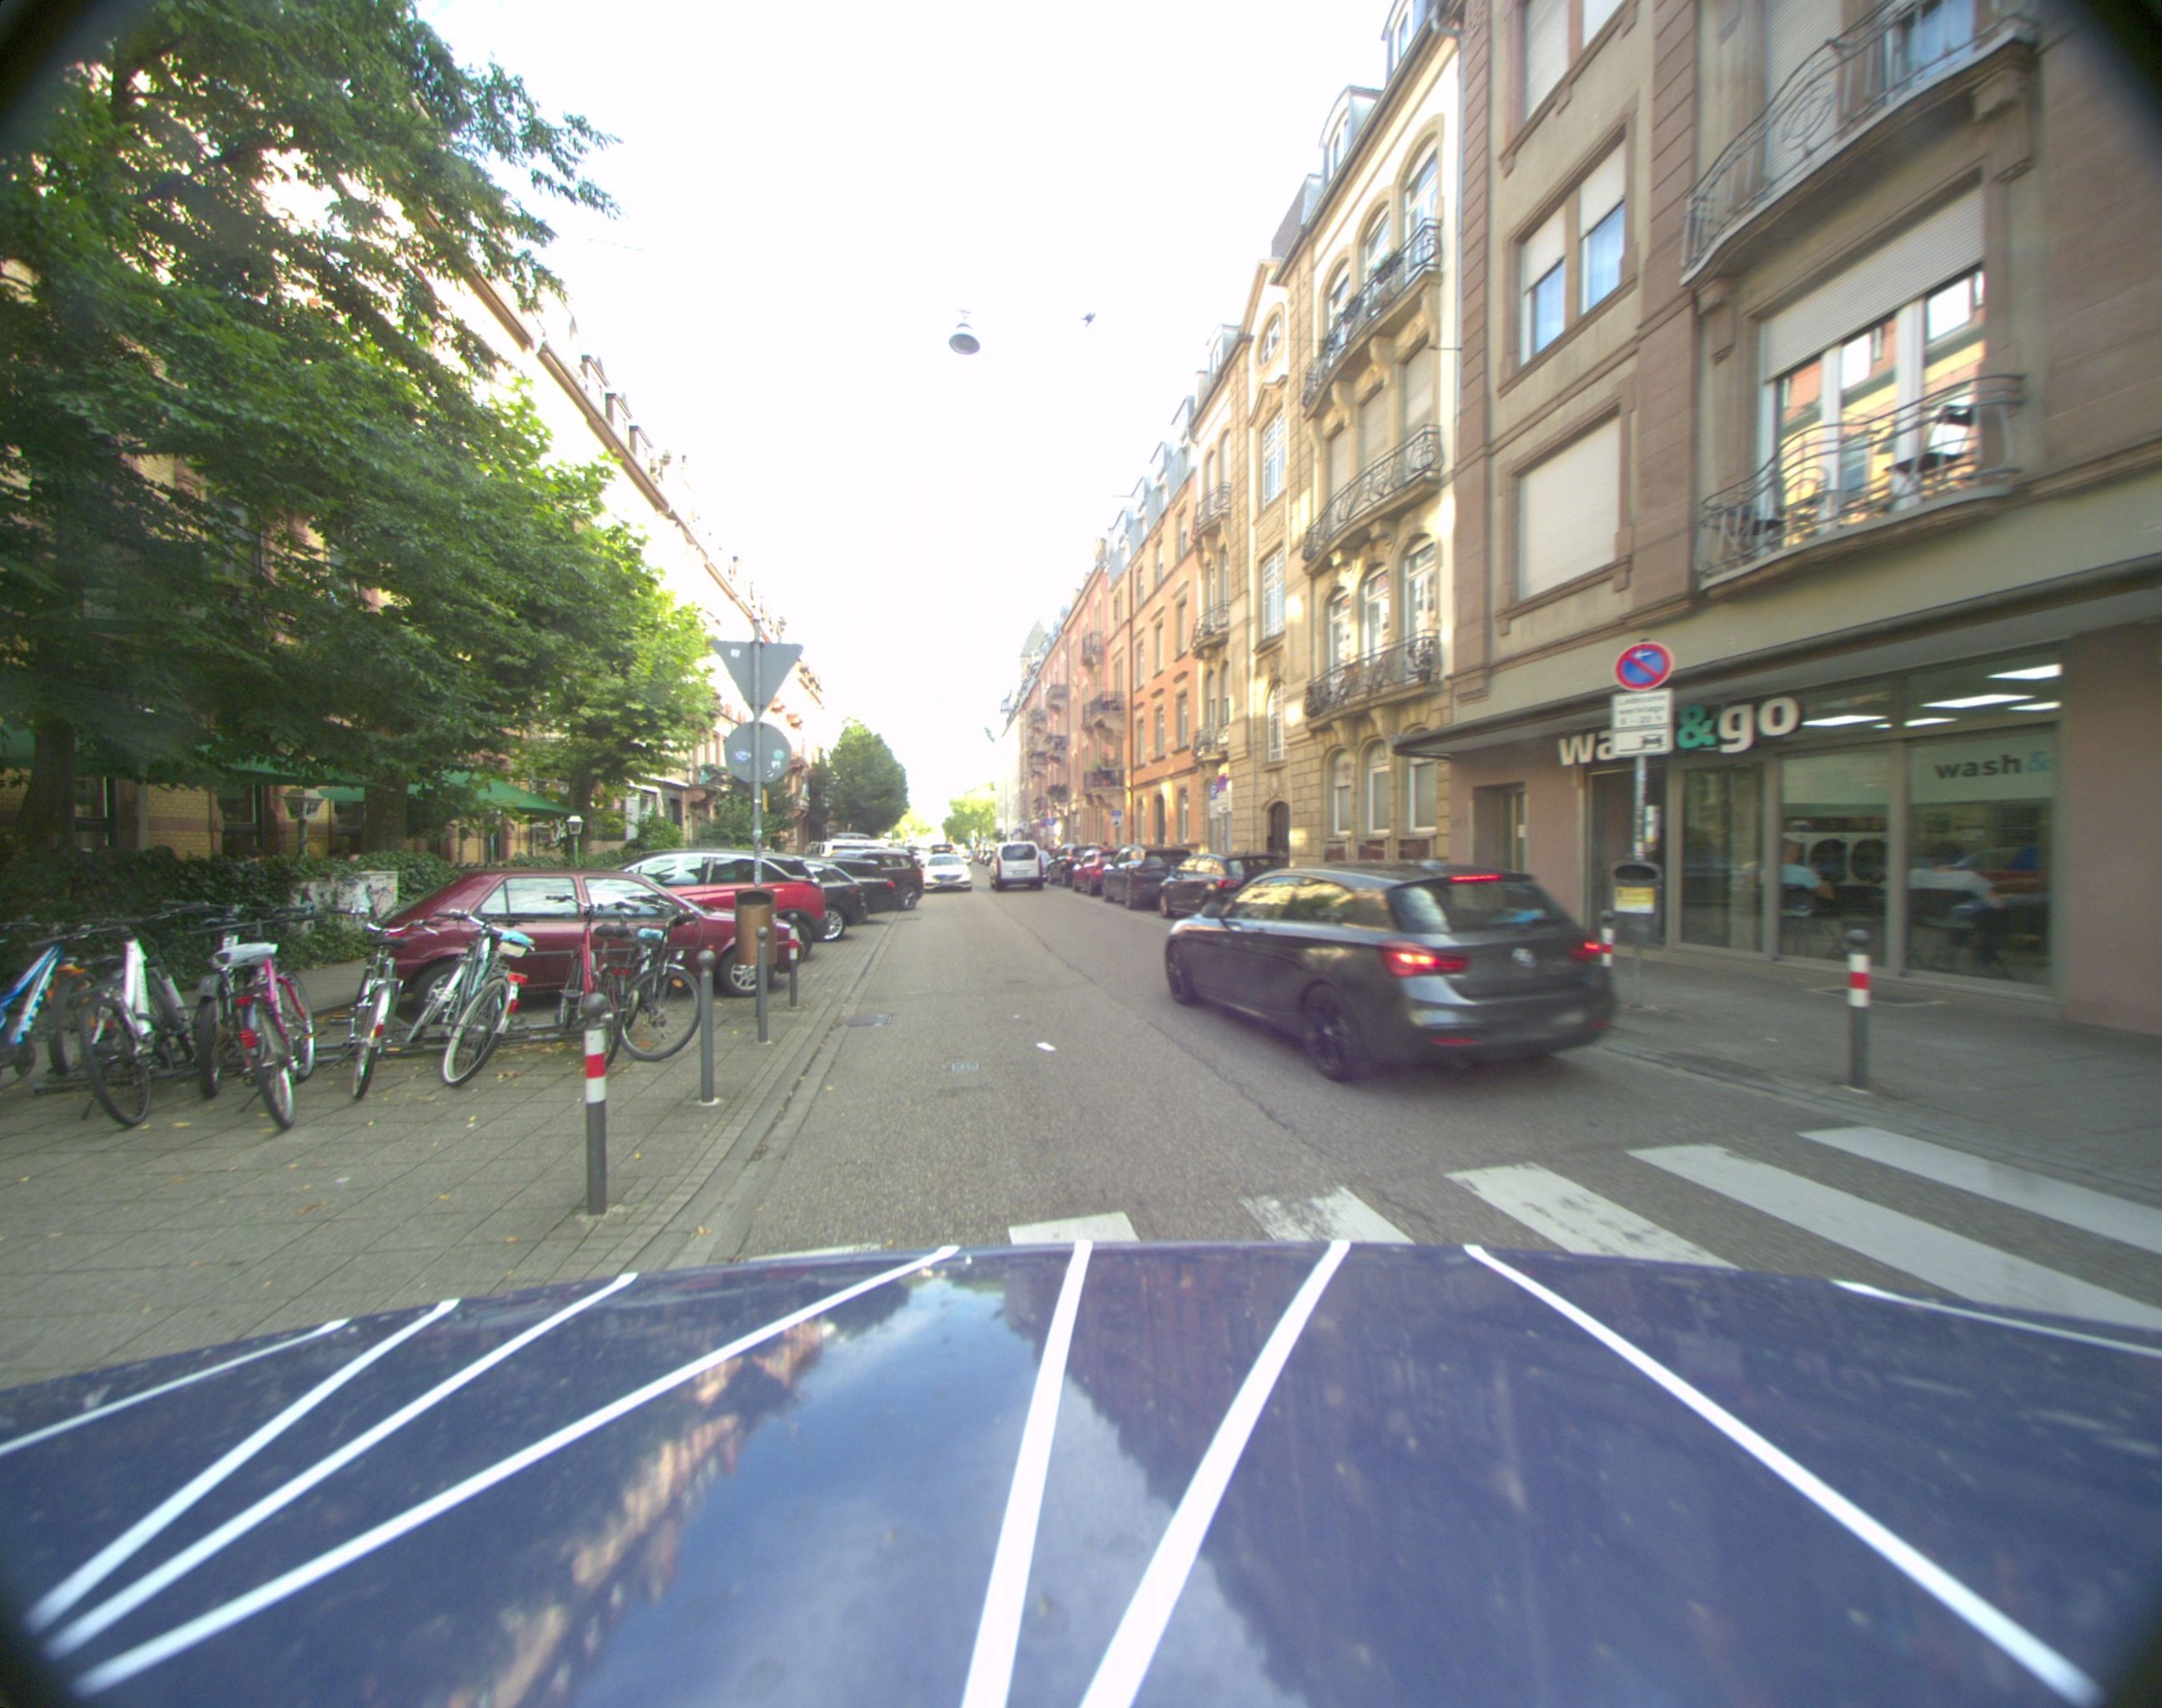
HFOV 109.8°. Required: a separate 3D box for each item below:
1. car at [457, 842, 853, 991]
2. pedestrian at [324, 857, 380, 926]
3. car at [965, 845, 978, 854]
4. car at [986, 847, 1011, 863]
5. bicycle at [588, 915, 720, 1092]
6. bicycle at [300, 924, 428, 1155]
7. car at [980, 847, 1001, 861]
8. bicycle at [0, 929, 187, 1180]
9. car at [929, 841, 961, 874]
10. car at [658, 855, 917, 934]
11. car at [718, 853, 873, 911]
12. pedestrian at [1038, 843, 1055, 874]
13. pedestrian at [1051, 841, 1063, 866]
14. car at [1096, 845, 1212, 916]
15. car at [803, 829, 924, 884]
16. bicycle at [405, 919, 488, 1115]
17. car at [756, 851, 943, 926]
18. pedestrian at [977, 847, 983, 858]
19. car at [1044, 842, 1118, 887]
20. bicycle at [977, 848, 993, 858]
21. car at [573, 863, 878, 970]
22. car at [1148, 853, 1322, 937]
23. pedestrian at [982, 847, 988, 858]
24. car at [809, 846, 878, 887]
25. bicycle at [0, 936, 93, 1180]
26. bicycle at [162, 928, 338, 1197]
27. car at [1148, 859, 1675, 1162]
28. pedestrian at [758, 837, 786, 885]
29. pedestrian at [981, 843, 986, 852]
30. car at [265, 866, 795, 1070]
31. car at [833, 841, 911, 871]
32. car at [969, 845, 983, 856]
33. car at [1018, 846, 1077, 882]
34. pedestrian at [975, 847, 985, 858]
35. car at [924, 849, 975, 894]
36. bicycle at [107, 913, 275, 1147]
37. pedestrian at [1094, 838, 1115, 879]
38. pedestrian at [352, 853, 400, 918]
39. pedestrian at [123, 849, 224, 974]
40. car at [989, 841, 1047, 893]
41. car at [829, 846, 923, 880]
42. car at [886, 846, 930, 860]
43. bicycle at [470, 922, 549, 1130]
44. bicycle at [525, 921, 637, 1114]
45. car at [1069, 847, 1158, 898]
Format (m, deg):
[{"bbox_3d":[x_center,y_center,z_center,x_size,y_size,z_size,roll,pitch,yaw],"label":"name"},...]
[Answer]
[{"bbox_3d":[-5.589,0.732,10.333,4.364,1.635,1.816,2,0,-36],"label":"car"},{"bbox_3d":[-13.331,0.678,13.902,0.489,1.212,0.648,2,1,-19],"label":"pedestrian"},{"bbox_3d":[-18.499,-0.702,128.360,1.913,1.412,3.995,-2,1,-11],"label":"car"},{"bbox_3d":[-7.688,0.092,70.538,1.818,1.343,5.109,-2,1,-12],"label":"car"},{"bbox_3d":[-3.435,1.083,6.030,0.551,1.034,1.851,3,0,-40],"label":"bicycle"},{"bbox_3d":[-4.552,1.064,4.903,0.446,1.034,1.900,3,0,-40],"label":"bicycle"},{"bbox_3d":[-9.538,-0.054,80.215,1.676,1.407,4.006,-2,1,-14],"label":"car"},{"bbox_3d":[-5.448,1.011,4.231,0.337,1.034,1.452,3,0,-40],"label":"bicycle"},{"bbox_3d":[-8.543,0.213,47.845,1.812,1.915,3.996,-3,1,-9],"label":"car"},{"bbox_3d":[-6.184,0.807,16.299,4.778,1.448,2.051,2,-1,-38],"label":"car"},{"bbox_3d":[-8.033,0.741,21.586,1.736,1.476,3.728,0,0,42],"label":"car"},{"bbox_3d":[-1.890,0.246,41.744,0.666,1.699,0.566,0,2,44],"label":"pedestrian"},{"bbox_3d":[-1.646,-0.017,52.527,0.666,1.686,0.762,-2,2,-11],"label":"pedestrian"},{"bbox_3d":[1.781,0.582,20.232,1.797,1.619,4.841,-1,1,-11],"label":"car"},{"bbox_3d":[-10.155,0.087,35.721,5.171,2.391,1.912,0,1,-44],"label":"car"},{"bbox_3d":[-4.554,1.071,5.507,0.348,1.034,1.851,3,0,-38],"label":"bicycle"},{"bbox_3d":[-6.069,0.823,20.338,1.870,1.644,4.395,-1,2,41],"label":"car"},{"bbox_3d":[-12.527,-0.164,94.402,0.739,1.341,0.643,-2,2,-8],"label":"pedestrian"},{"bbox_3d":[-0.108,0.396,31.268,1.880,1.671,4.888,-2,1,-14],"label":"car"},{"bbox_3d":[-11.706,-0.095,92.824,1.874,1.168,0.687,-2,2,-9],"label":"bicycle"},{"bbox_3d":[-5.971,0.923,12.976,4.423,1.448,1.937,-1,1,-35],"label":"car"},{"bbox_3d":[2.932,0.707,15.495,2.000,1.412,4.239,0,1,-11],"label":"car"},{"bbox_3d":[-11.880,-0.215,93.935,0.690,1.365,0.739,-2,2,-7],"label":"pedestrian"},{"bbox_3d":[-10.171,0.556,32.583,2.474,1.656,1.343,3,-2,-37],"label":"car"},{"bbox_3d":[-5.636,1.010,3.864,0.452,1.034,1.382,-1,1,-41],"label":"bicycle"},{"bbox_3d":[-4.657,1.043,4.349,0.390,1.034,1.915,3,0,-40],"label":"bicycle"},{"bbox_3d":[2.055,0.829,6.186,1.756,1.428,4.206,-2,2,-13],"label":"car"},{"bbox_3d":[-12.255,0.261,30.166,0.842,1.867,0.722,0,1,-6],"label":"pedestrian"},{"bbox_3d":[-17.763,-1.183,138.327,0.846,1.699,0.878,-2,2,-10],"label":"pedestrian"},{"bbox_3d":[-5.218,0.903,7.730,3.952,1.448,1.765,-1,1,-39],"label":"car"},{"bbox_3d":[-13.373,0.148,48.840,4.653,1.774,1.808,2,-2,-12],"label":"car"},{"bbox_3d":[-16.085,-0.545,116.028,1.829,1.477,4.165,-2,1,-11],"label":"car"},{"bbox_3d":[-1.709,0.418,36.719,1.832,1.569,5.256,-2,1,-14],"label":"car"},{"bbox_3d":[-12.906,-0.197,96.976,1.089,1.365,0.894,-2,1,-2],"label":"pedestrian"},{"bbox_3d":[-5.266,0.640,30.524,1.812,1.622,3.996,-3,1,-9],"label":"car"},{"bbox_3d":[-5.510,0.983,4.779,0.355,1.067,1.793,3,0,-40],"label":"bicycle"},{"bbox_3d":[1.050,0.207,34.294,0.758,1.798,0.862,-2,2,-7],"label":"pedestrian"},{"bbox_3d":[-13.456,0.590,14.506,0.467,1.212,0.562,2,1,-20],"label":"pedestrian"},{"bbox_3d":[-12.271,0.761,10.292,0.648,1.633,0.563,2,1,-15],"label":"pedestrian"},{"bbox_3d":[-2.546,0.439,29.766,1.924,1.818,4.434,-2,1,-8],"label":"car"},{"bbox_3d":[-11.097,0.452,41.371,1.994,1.722,4.466,-1,1,45],"label":"car"},{"bbox_3d":[-20.716,-0.078,90.999,4.818,1.535,1.865,1,1,-43],"label":"car"},{"bbox_3d":[-4.068,1.098,5.401,0.348,1.034,2.012,3,0,-38],"label":"bicycle"},{"bbox_3d":[-3.754,1.104,5.641,0.462,1.034,1.851,3,0,-40],"label":"bicycle"},{"bbox_3d":[0.968,0.543,25.641,2.000,1.536,4.421,-1,1,-11],"label":"car"}]
